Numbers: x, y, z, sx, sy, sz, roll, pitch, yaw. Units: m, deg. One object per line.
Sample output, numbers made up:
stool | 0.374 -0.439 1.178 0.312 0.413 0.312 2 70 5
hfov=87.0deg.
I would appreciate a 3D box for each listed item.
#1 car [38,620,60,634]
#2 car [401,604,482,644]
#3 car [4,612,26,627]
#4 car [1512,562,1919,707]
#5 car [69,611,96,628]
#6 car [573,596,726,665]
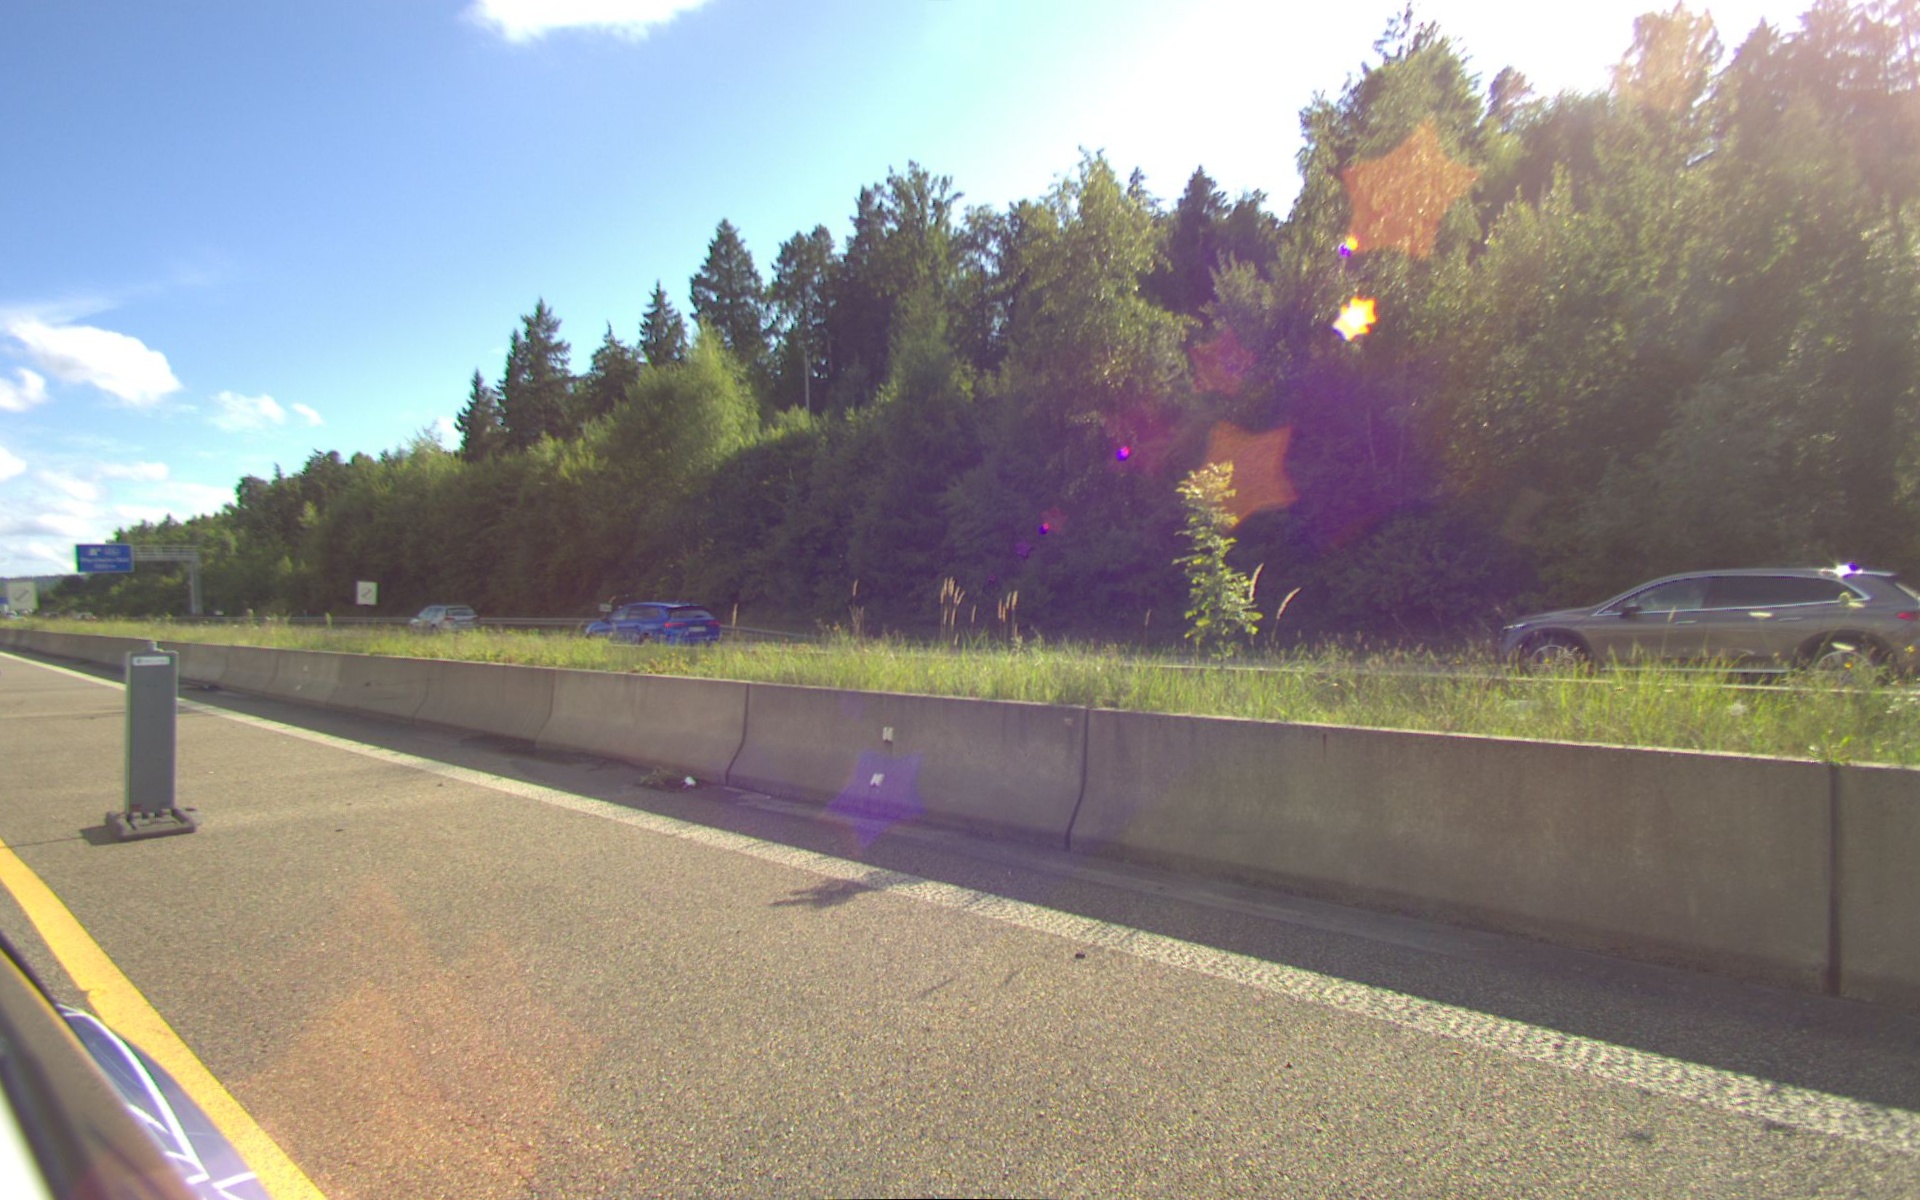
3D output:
car | -137.941 4.116 153.227 3.998 2.029 1.973 -1 0 41
car | -22.381 1.010 43.651 4.016 1.614 1.759 -1 0 41
car | -139.154 2.858 148.985 3.998 2.029 1.973 -1 0 41
car | 10.334 0.416 13.855 4.615 1.701 1.759 -1 0 41
car | -110.221 2.417 127.130 3.998 2.029 1.973 -1 0 41
car | -8.033 0.729 26.016 4.309 1.614 1.759 -1 0 41
